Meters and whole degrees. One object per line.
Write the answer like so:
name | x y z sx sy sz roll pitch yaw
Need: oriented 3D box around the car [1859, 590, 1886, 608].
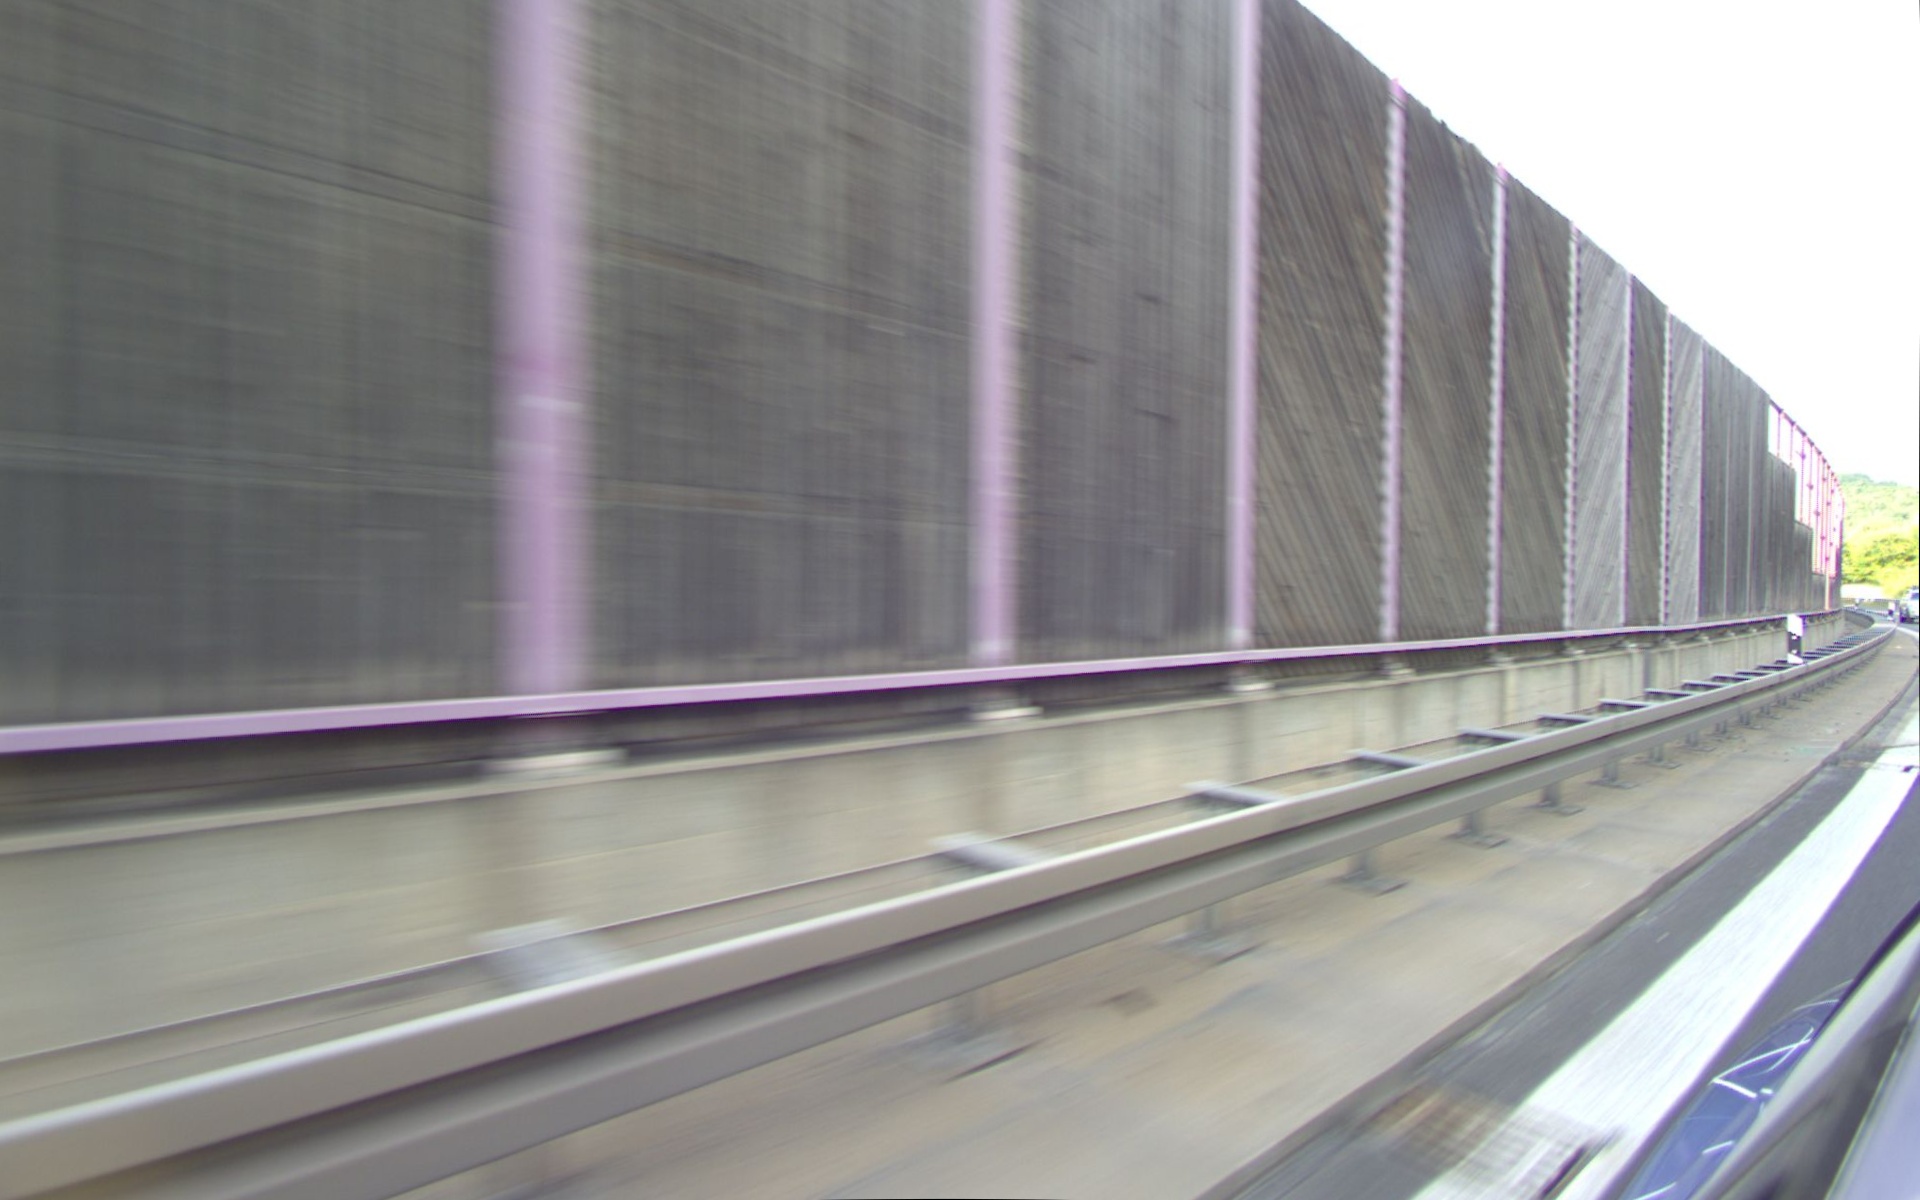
car | 77.867 -0.086 86.351 1.615 1.478 3.607 -1 1 43
